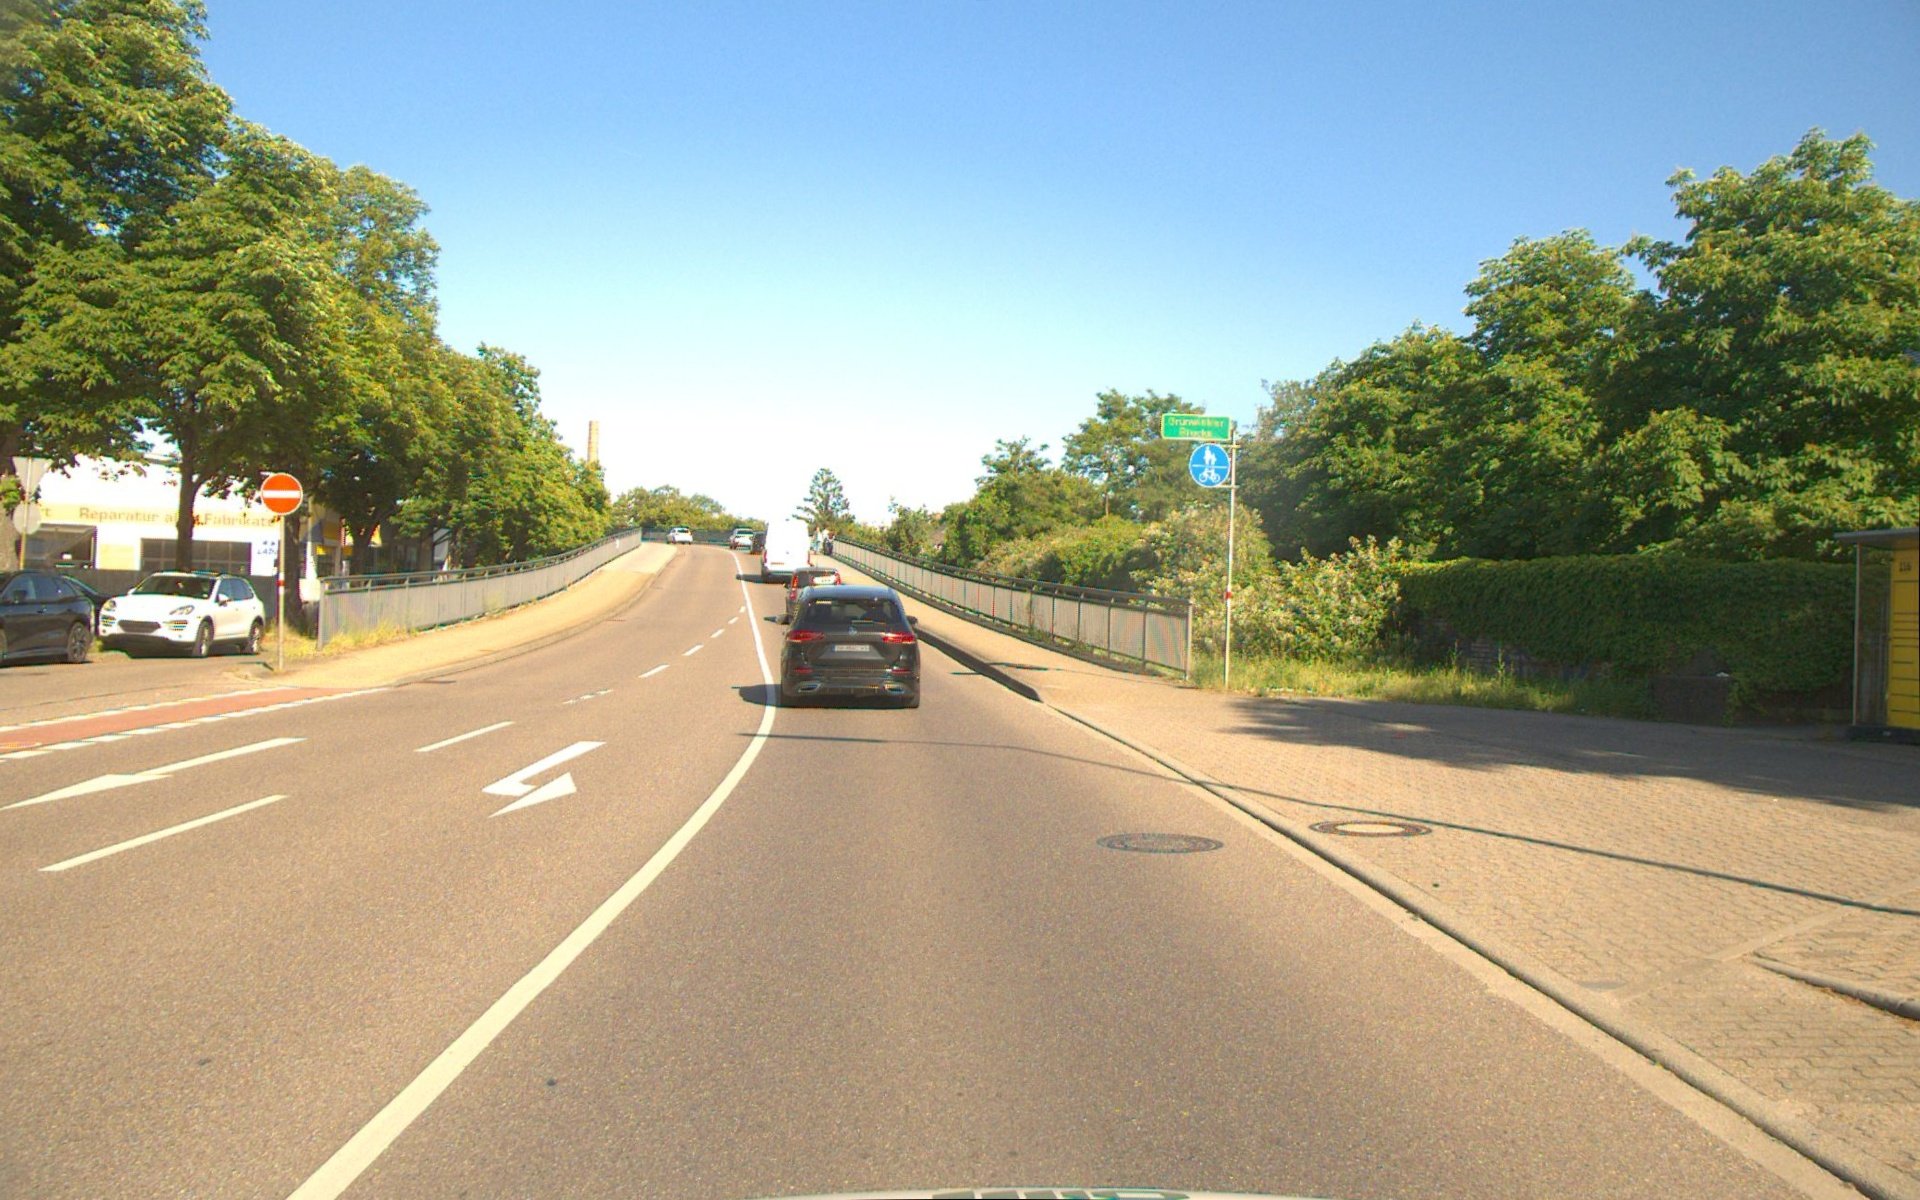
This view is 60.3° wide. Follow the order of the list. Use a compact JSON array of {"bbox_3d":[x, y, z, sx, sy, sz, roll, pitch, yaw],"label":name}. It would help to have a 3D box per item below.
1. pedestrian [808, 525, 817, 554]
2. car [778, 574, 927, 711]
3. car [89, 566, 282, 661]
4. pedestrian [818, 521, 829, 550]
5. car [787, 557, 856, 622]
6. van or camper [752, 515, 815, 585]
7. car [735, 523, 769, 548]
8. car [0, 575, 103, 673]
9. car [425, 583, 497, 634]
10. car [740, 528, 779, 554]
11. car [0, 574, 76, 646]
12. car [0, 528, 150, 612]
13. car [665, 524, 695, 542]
[{"bbox_3d":[-9.173,-3.771,103.034,0.463,1.780,0.652,2,0,-8],"label":"pedestrian"},{"bbox_3d":[-1.341,0.503,21.963,1.734,1.620,3.988,1,0,-1],"label":"car"},{"bbox_3d":[-16.080,0.250,34.680,1.998,1.759,5.229,3,0,-6],"label":"car"},{"bbox_3d":[-8.552,-4.015,103.341,0.591,1.780,0.715,2,0,-8],"label":"pedestrian"},{"bbox_3d":[-3.870,-0.261,45.829,1.770,1.669,3.995,2,-1,-6],"label":"car"},{"bbox_3d":[-7.761,-2.129,72.152,2.186,2.787,7.064,2,1,-10],"label":"van or camper"},{"bbox_3d":[-16.036,-4.940,127.560,1.952,1.709,4.001,0,-1,3],"label":"car"},{"bbox_3d":[-15.861,0.337,26.604,1.999,1.489,4.954,2,0,-7],"label":"car"},{"bbox_3d":[-20.984,0.336,69.719,1.885,2.026,4.254,2,1,-3],"label":"car"},{"bbox_3d":[-13.410,-3.911,110.711,1.878,1.514,4.271,1,-1,3],"label":"car"},{"bbox_3d":[-22.771,0.219,38.363,3.941,1.625,1.982,0,1,-28],"label":"car"},{"bbox_3d":[-29.760,-0.942,54.045,2.088,2.606,5.886,1,0,25],"label":"car"},{"bbox_3d":[-26.149,-6.209,154.331,1.851,1.570,3.973,2,1,-22],"label":"car"}]
